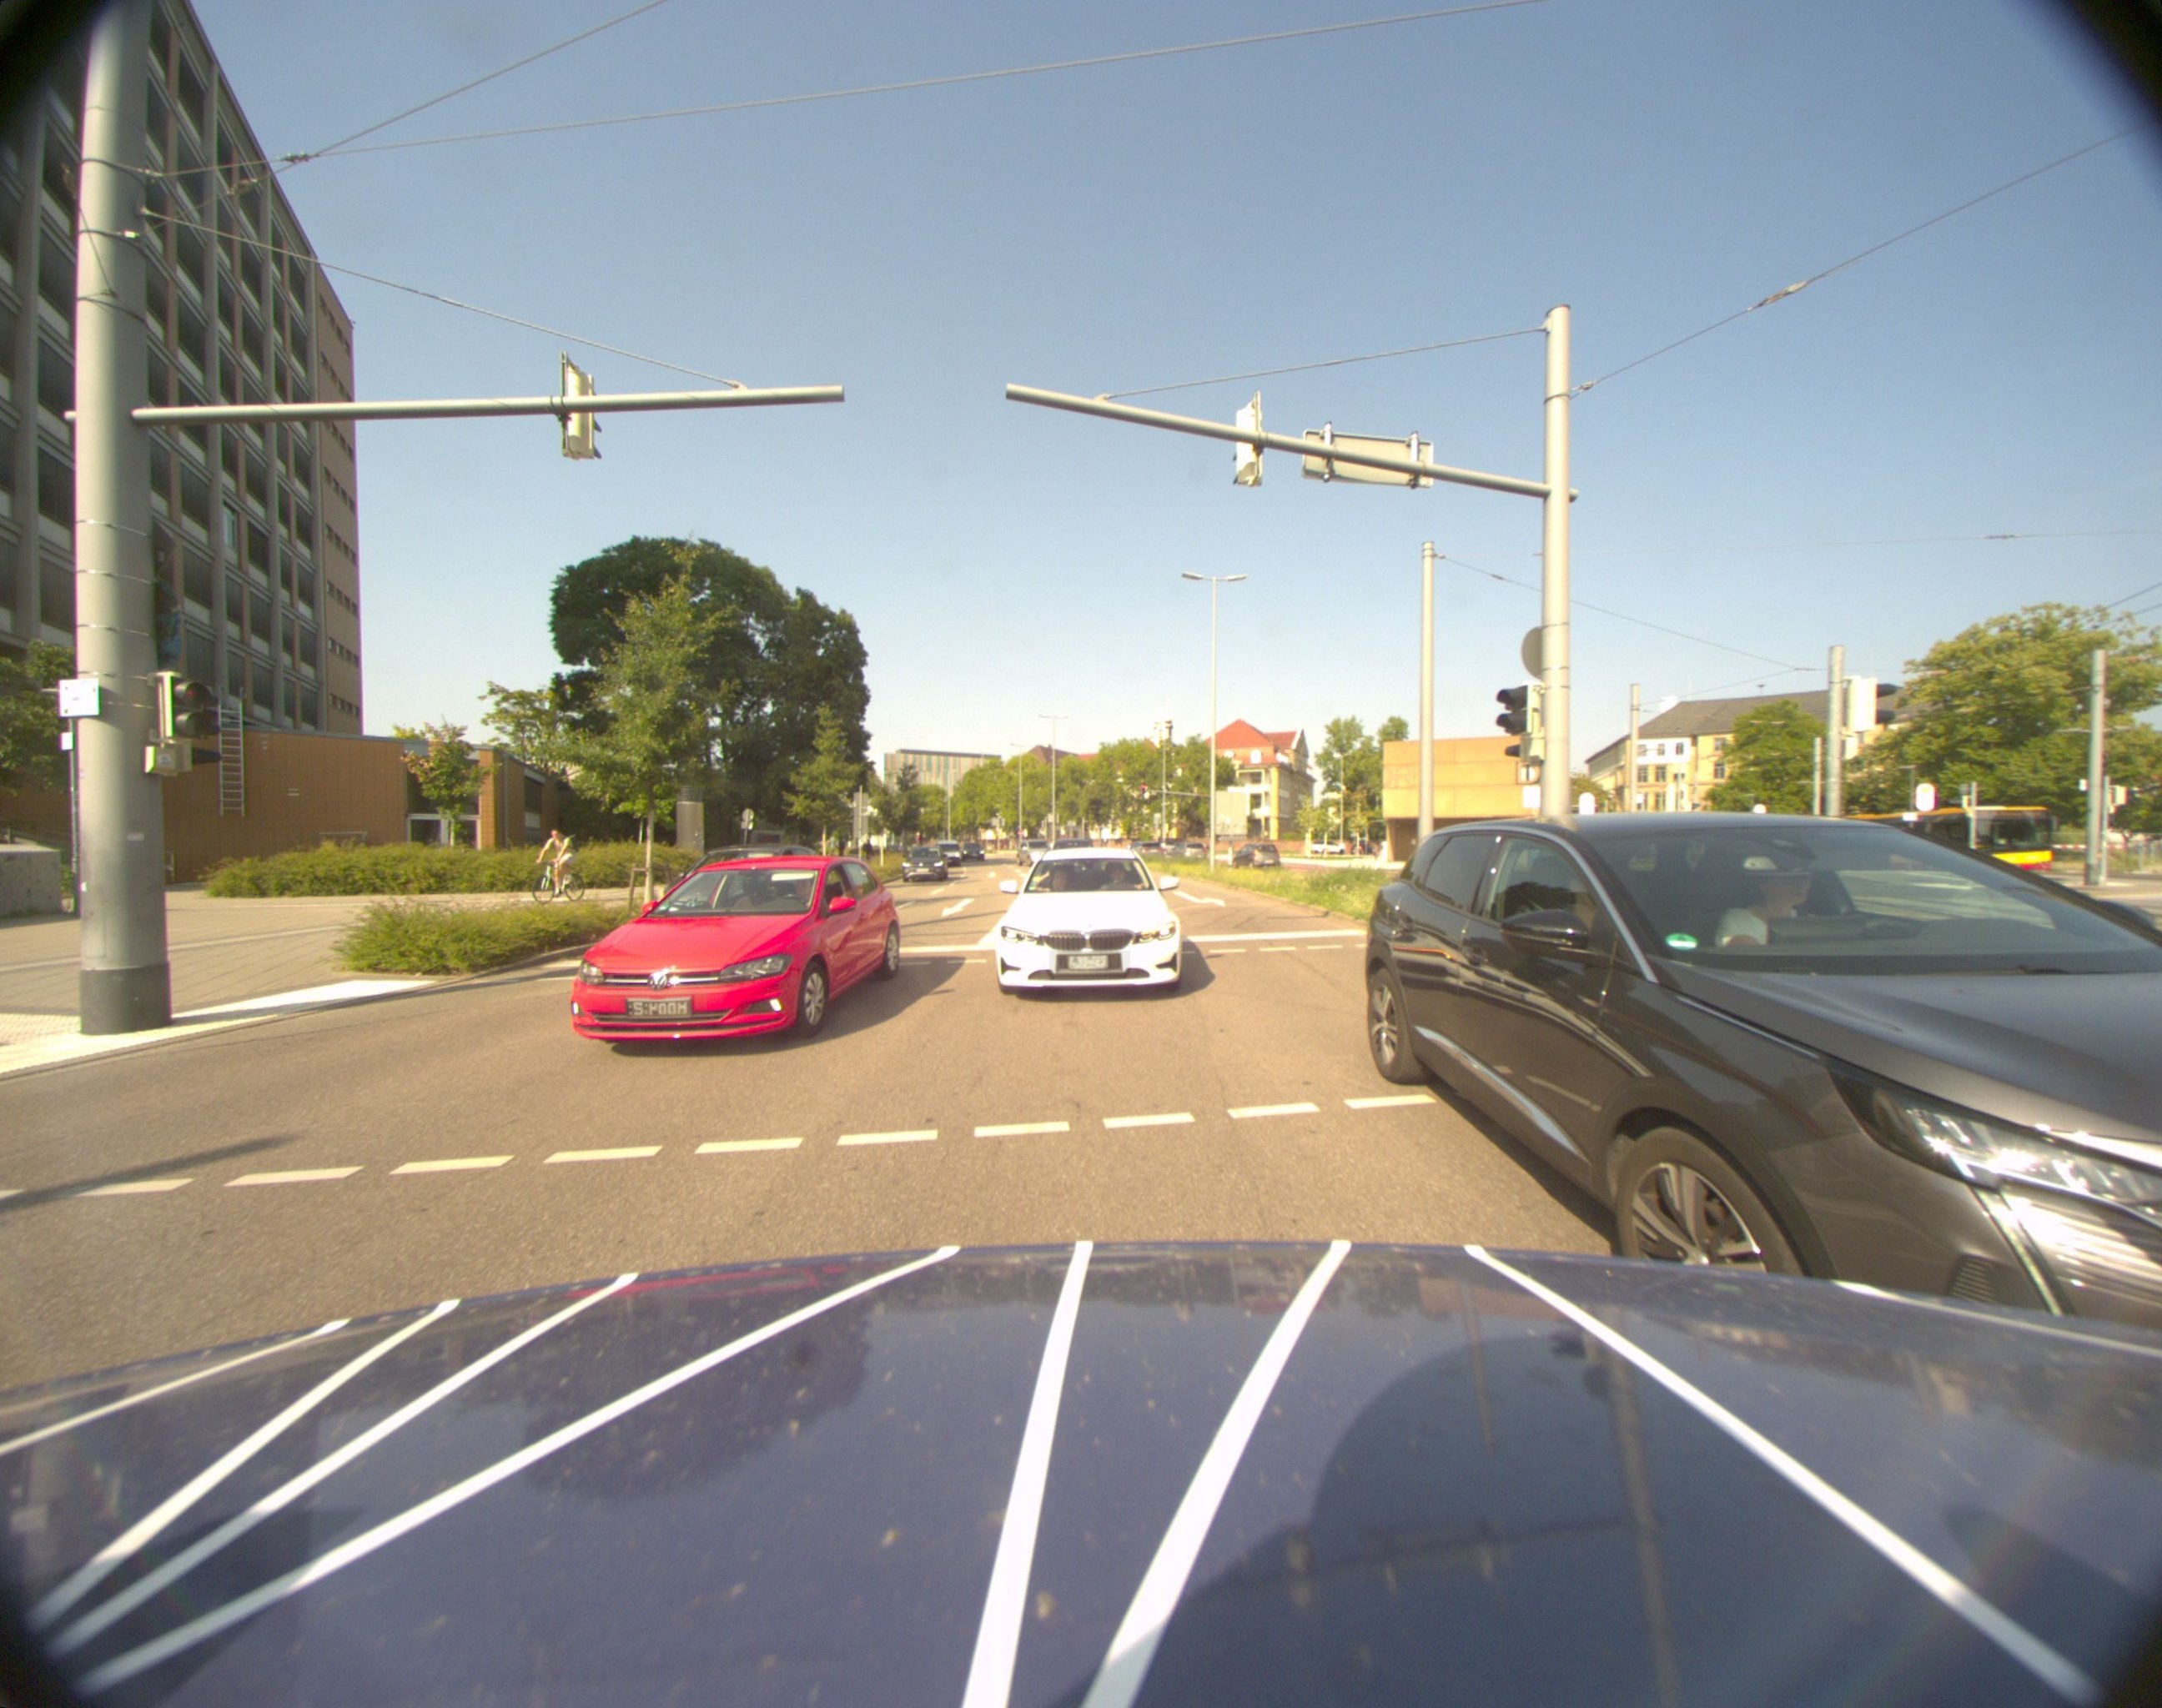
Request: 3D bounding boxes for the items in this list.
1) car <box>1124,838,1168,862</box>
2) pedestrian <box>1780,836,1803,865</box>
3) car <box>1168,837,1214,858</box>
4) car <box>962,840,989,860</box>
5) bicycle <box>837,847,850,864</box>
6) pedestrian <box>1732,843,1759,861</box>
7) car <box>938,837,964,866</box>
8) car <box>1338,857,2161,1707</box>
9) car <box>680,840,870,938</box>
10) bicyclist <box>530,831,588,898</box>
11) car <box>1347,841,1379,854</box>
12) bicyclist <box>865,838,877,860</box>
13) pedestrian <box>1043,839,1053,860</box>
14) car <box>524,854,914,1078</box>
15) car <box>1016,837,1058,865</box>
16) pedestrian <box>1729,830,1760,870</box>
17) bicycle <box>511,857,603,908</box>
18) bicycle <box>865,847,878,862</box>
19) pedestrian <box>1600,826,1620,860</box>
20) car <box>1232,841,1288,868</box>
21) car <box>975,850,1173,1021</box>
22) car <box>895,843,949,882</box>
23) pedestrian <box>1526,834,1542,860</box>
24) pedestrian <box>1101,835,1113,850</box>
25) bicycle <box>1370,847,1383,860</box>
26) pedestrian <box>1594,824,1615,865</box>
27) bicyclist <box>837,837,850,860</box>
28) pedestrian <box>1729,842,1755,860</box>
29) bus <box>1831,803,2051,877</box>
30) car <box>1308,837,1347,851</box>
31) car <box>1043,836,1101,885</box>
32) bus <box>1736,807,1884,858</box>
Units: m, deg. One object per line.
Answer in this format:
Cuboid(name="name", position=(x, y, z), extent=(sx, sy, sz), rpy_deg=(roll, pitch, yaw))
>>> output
Cuboid(name="car", position=(4.489, -0.332, 53.072), extent=(1.700, 1.608, 4.455), rpy_deg=(0, 1, -14))
Cuboid(name="pedestrian", position=(43.747, -0.212, 46.786), extent=(0.828, 1.729, 0.837), rpy_deg=(1, 2, 30))
Cuboid(name="car", position=(7.737, -0.473, 53.966), extent=(1.820, 1.425, 4.219), rpy_deg=(0, 1, -13))
Cuboid(name="car", position=(-9.176, -0.351, 66.008), extent=(1.689, 1.644, 4.365), rpy_deg=(0, 1, -16))
Cuboid(name="bicycle", position=(-16.944, 0.086, 54.230), extent=(0.774, 1.111, 2.300), rpy_deg=(-1, 1, -14))
Cuboid(name="pedestrian", position=(41.590, -0.154, 47.564), extent=(1.028, 1.127, 0.739), rpy_deg=(0, 2, 18))
Cuboid(name="car", position=(-9.124, -0.180, 53.199), extent=(1.688, 1.931, 4.367), rpy_deg=(0, 1, -11))
Cuboid(name="car", position=(2.483, 0.795, 3.095), extent=(1.686, 1.483, 4.373), rpy_deg=(0, 1, 4))
Cuboid(name="car", position=(-5.867, 0.589, 15.244), extent=(1.782, 1.596, 4.421), rpy_deg=(-3, 1, 2))
Cuboid(name="bicyclist", position=(-12.772, 0.243, 18.624), extent=(0.773, 1.584, 0.923), rpy_deg=(-1, 2, -5))
Cuboid(name="car", position=(34.592, -0.819, 93.077), extent=(3.856, 1.489, 1.621), rpy_deg=(-1, 2, -32))
Cuboid(name="bicyclist", position=(-14.748, -0.361, 53.469), extent=(0.722, 1.504, 1.003), rpy_deg=(0, 2, -11))
Cuboid(name="pedestrian", position=(-2.693, -0.403, 61.435), extent=(0.669, 1.689, 0.691), rpy_deg=(0, 1, -13))
Cuboid(name="car", position=(-2.975, 0.777, 7.437), extent=(1.687, 1.483, 4.371), rpy_deg=(0, 1, 1))
Cuboid(name="car", position=(-2.959, -0.181, 50.259), extent=(1.784, 1.710, 4.527), rpy_deg=(-3, 1, -15))
Cuboid(name="pedestrian", position=(30.352, -0.193, 34.744), extent=(0.780, 1.790, 0.700), rpy_deg=(0, 2, -9))
Cuboid(name="bicycle", position=(-12.748, 0.666, 18.601), extent=(0.773, 1.111, 2.302), rpy_deg=(-1, 1, -5))
Cuboid(name="bicycle", position=(-14.730, 0.023, 53.412), extent=(0.722, 0.954, 1.919), rpy_deg=(0, 1, -11))
Cuboid(name="pedestrian", position=(28.120, -0.564, 40.408), extent=(0.699, 1.790, 0.781), rpy_deg=(1, 2, 23))
Cuboid(name="car", position=(9.905, 0.002, 42.253), extent=(1.894, 1.443, 3.672), rpy_deg=(0, 1, -6))
Cuboid(name="car", position=(0.061, 0.715, 9.093), extent=(1.782, 1.474, 4.533), rpy_deg=(0, 1, 3))
Cuboid(name="car", position=(-7.057, 0.332, 34.048), extent=(1.941, 1.598, 4.530), rpy_deg=(-1, 0, -7))
Cuboid(name="pedestrian", position=(28.703, -0.454, 48.158), extent=(0.717, 1.621, 0.857), rpy_deg=(1, 2, 24))
Cuboid(name="pedestrian", position=(3.298, -1.471, 97.680), extent=(1.080, 2.002, 1.316), rpy_deg=(-2, 2, -22))
Cuboid(name="bicycle", position=(20.445, -0.051, 52.560), extent=(0.591, 0.833, 1.550), rpy_deg=(-3, 0, 27))
Cuboid(name="pedestrian", position=(23.166, -0.442, 33.626), extent=(0.699, 1.790, 0.781), rpy_deg=(1, 2, 30))
Cuboid(name="bicyclist", position=(-16.951, -0.390, 54.280), extent=(0.774, 1.667, 0.923), rpy_deg=(-1, 2, -14))
Cuboid(name="pedestrian", position=(42.011, -0.192, 48.326), extent=(1.028, 1.127, 0.739), rpy_deg=(0, 2, 18))
Cuboid(name="bus", position=(41.904, -0.689, 37.822), extent=(2.709, 3.090, 12.235), rpy_deg=(1, 1, 26))
Cuboid(name="car", position=(29.039, -1.140, 89.431), extent=(4.379, 1.624, 1.995), rpy_deg=(-1, 1, -31))
Cuboid(name="car", position=(-0.420, 0.233, 29.580), extent=(1.783, 1.683, 4.530), rpy_deg=(-3, 1, -6))
Cuboid(name="bus", position=(47.749, -1.367, 50.418), extent=(3.290, 2.961, 12.818), rpy_deg=(1, 1, 26))
